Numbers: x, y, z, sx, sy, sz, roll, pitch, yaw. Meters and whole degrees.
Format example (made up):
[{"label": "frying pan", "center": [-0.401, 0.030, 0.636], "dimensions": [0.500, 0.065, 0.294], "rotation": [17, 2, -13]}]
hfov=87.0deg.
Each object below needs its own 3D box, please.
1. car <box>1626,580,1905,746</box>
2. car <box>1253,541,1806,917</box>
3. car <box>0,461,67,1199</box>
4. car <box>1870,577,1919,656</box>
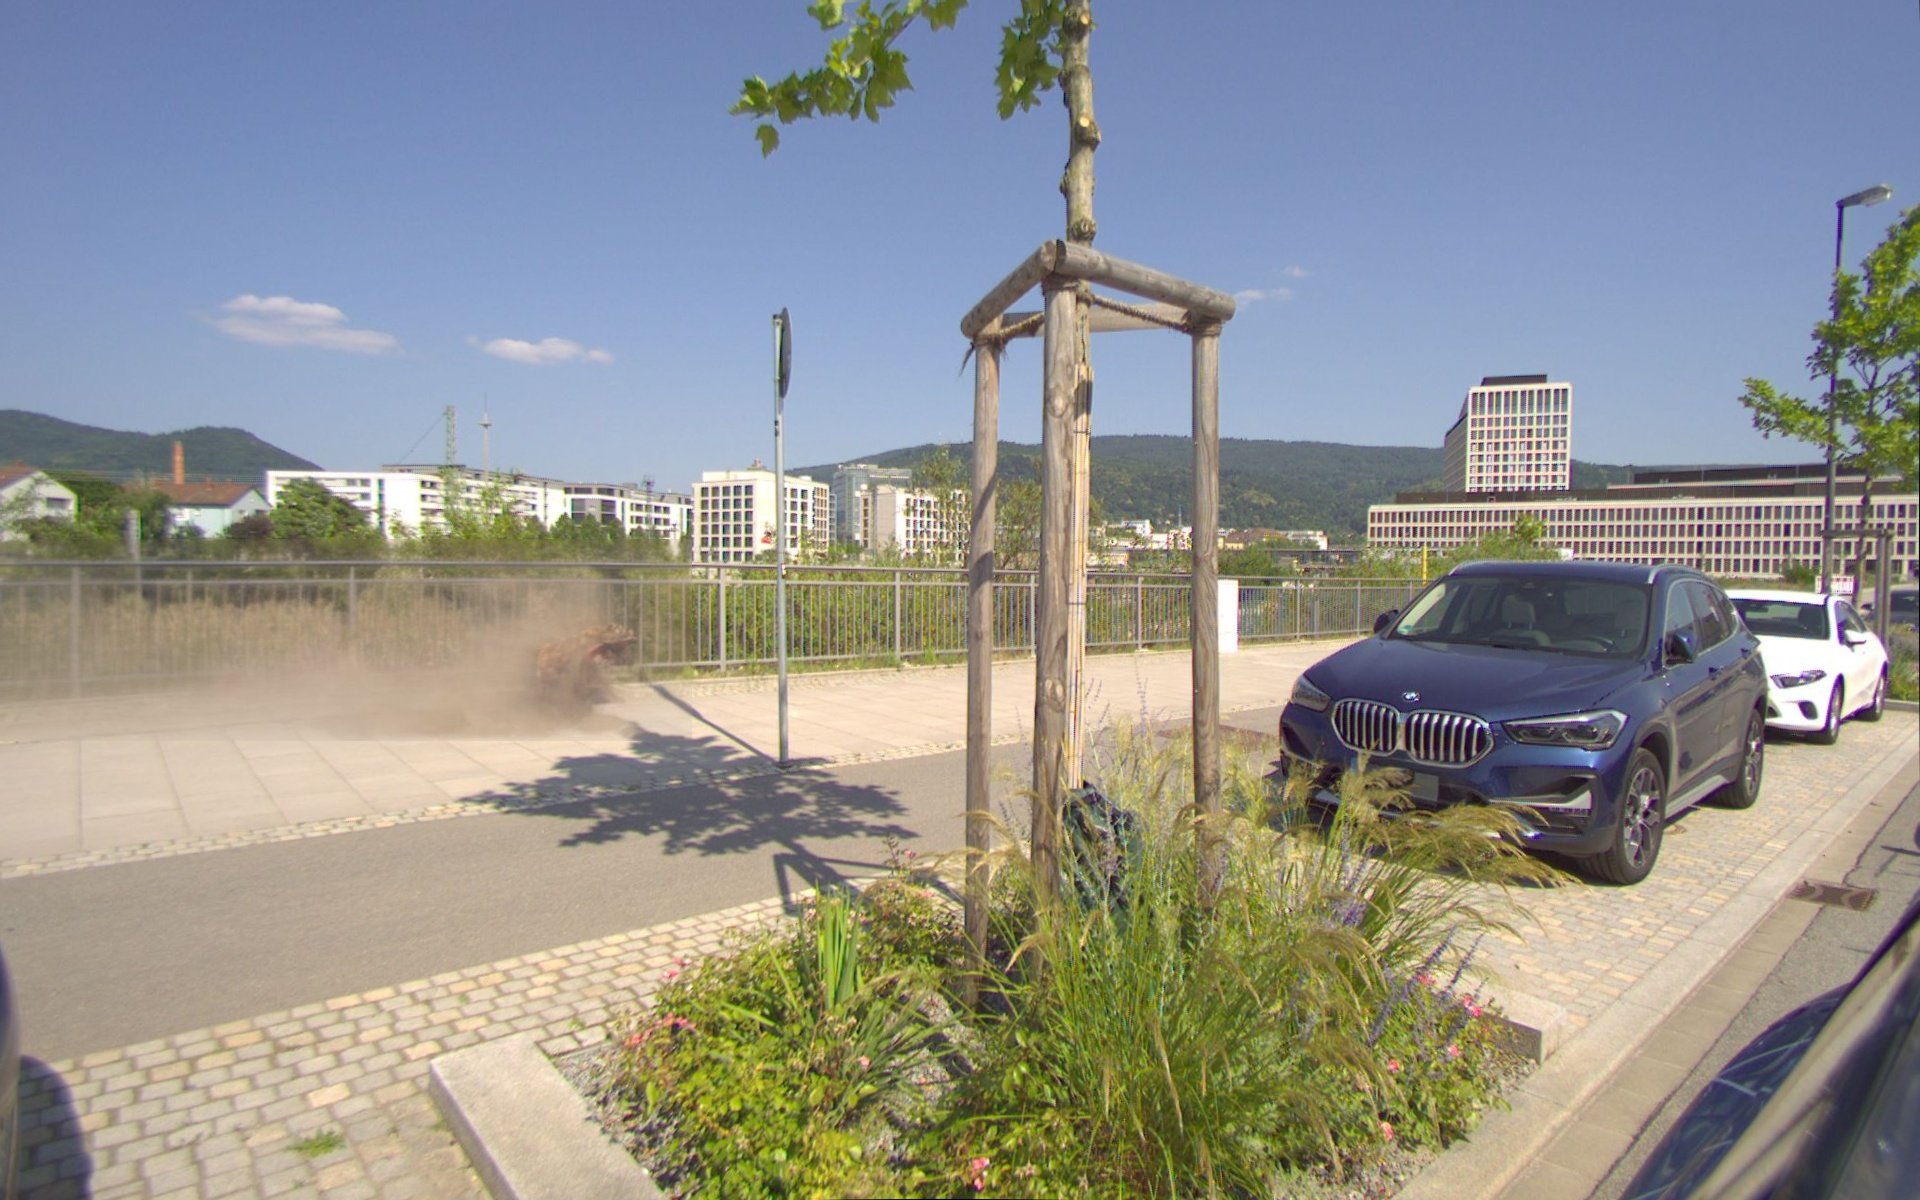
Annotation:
[{"label": "car", "center": [8.774, 0.535, 10.910], "dimensions": [3.930, 1.473, 1.663], "rotation": [-1, 0, -41]}, {"label": "car", "center": [3.806, 0.533, 6.429], "dimensions": [4.164, 1.627, 1.768], "rotation": [-1, 0, -41]}, {"label": "car", "center": [-2.970, 0.546, 0.382], "dimensions": [3.931, 1.443, 1.664], "rotation": [-1, 4, -42]}, {"label": "car", "center": [20.437, 0.306, 21.133], "dimensions": [3.930, 1.558, 1.663], "rotation": [-1, 0, -41]}]
